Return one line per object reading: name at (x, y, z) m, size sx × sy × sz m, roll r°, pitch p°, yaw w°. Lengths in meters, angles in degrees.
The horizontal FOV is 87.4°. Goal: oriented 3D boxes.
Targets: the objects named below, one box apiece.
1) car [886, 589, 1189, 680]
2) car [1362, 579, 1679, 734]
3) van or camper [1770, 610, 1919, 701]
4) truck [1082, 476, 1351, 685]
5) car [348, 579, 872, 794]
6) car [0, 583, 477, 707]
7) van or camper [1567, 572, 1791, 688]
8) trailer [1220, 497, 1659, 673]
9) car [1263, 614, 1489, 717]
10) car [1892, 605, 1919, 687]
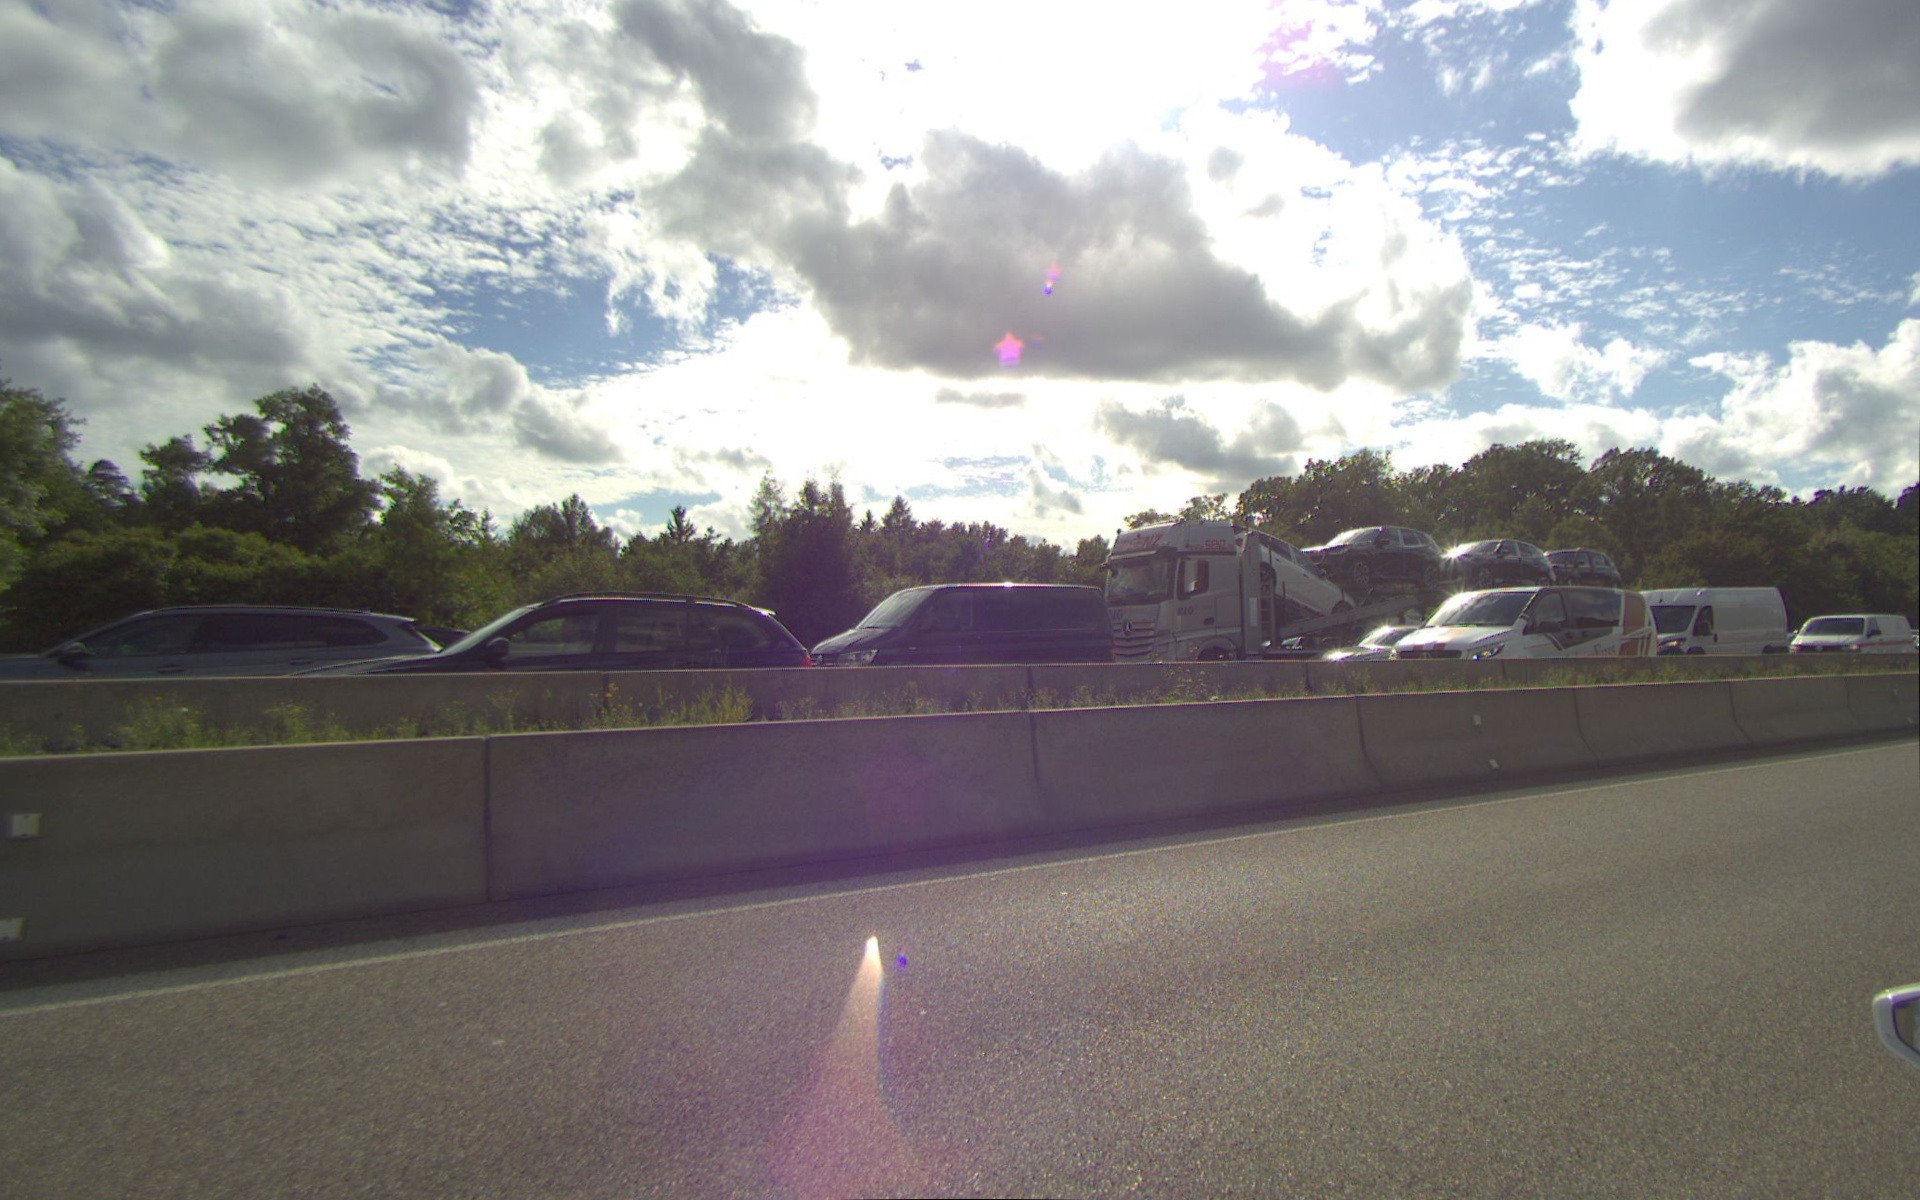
car at (1.273, 0.536, 15.706) m, size 4.514 × 1.247 × 1.823 m, roll 2°, pitch -1°, yaw -31°
car at (8.979, 0.871, 15.960) m, size 5.216 × 2.127 × 1.984 m, roll 3°, pitch -1°, yaw -30°
van or camper at (28.978, 1.802, 32.794) m, size 5.684 × 2.747 × 2.035 m, roll 2°, pitch -1°, yaw -30°
truck at (5.991, -0.356, 23.330) m, size 5.647 × 4.291 × 2.839 m, roll 1°, pitch 0°, yaw -31°
car at (-2.930, 0.616, 8.686) m, size 3.952 × 1.391 × 1.687 m, roll 1°, pitch 4°, yaw -30°
car at (-7.702, 0.452, 10.316) m, size 4.827 × 1.091 × 1.632 m, roll 3°, pitch -1°, yaw -30°
van or camper at (19.393, 0.862, 26.995) m, size 6.554 × 2.746 × 2.380 m, roll 3°, pitch -1°, yaw -30°
trailer at (14.113, -0.174, 28.264) m, size 15.820 × 4.028 × 2.816 m, roll 2°, pitch 0°, yaw -31°
car at (8.590, 1.291, 20.643) m, size 4.642 × 1.900 × 1.902 m, roll 2°, pitch -1°, yaw -31°
car at (37.748, 1.743, 38.155) m, size 5.340 × 3.003 × 1.983 m, roll 1°, pitch 1°, yaw -31°
